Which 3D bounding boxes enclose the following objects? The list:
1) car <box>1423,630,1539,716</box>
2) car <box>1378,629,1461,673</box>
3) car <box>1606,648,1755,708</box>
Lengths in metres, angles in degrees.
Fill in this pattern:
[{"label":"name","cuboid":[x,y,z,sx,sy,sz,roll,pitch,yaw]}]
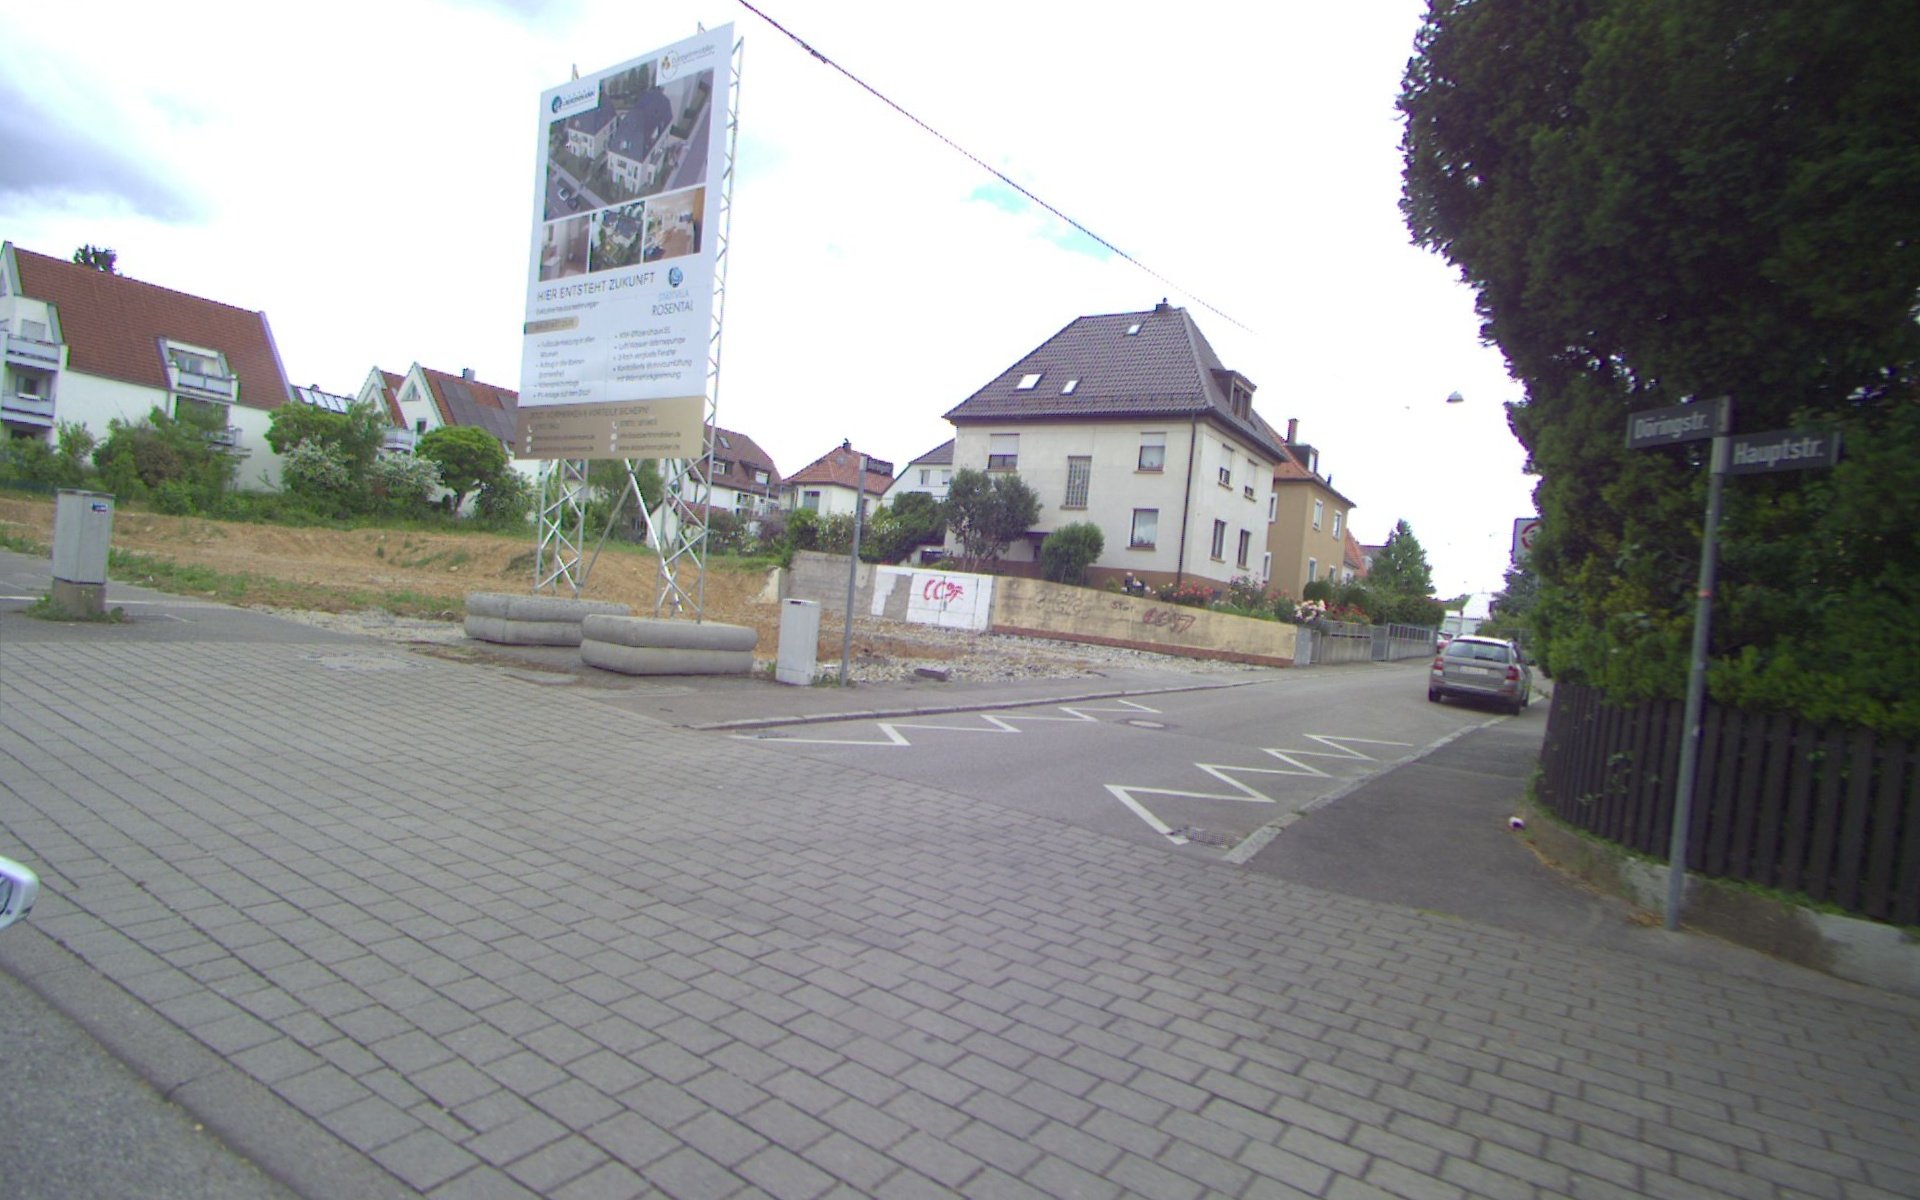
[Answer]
[{"label":"car","cuboid":[11.252,1.481,21.571,1.731,1.443,4.220,8,2,32]},{"label":"car","cuboid":[26.683,2.953,58.461,3.938,2.037,1.995,6,-1,36]},{"label":"car","cuboid":[21.661,2.361,30.422,3.445,1.339,1.620,6,-1,33]}]
